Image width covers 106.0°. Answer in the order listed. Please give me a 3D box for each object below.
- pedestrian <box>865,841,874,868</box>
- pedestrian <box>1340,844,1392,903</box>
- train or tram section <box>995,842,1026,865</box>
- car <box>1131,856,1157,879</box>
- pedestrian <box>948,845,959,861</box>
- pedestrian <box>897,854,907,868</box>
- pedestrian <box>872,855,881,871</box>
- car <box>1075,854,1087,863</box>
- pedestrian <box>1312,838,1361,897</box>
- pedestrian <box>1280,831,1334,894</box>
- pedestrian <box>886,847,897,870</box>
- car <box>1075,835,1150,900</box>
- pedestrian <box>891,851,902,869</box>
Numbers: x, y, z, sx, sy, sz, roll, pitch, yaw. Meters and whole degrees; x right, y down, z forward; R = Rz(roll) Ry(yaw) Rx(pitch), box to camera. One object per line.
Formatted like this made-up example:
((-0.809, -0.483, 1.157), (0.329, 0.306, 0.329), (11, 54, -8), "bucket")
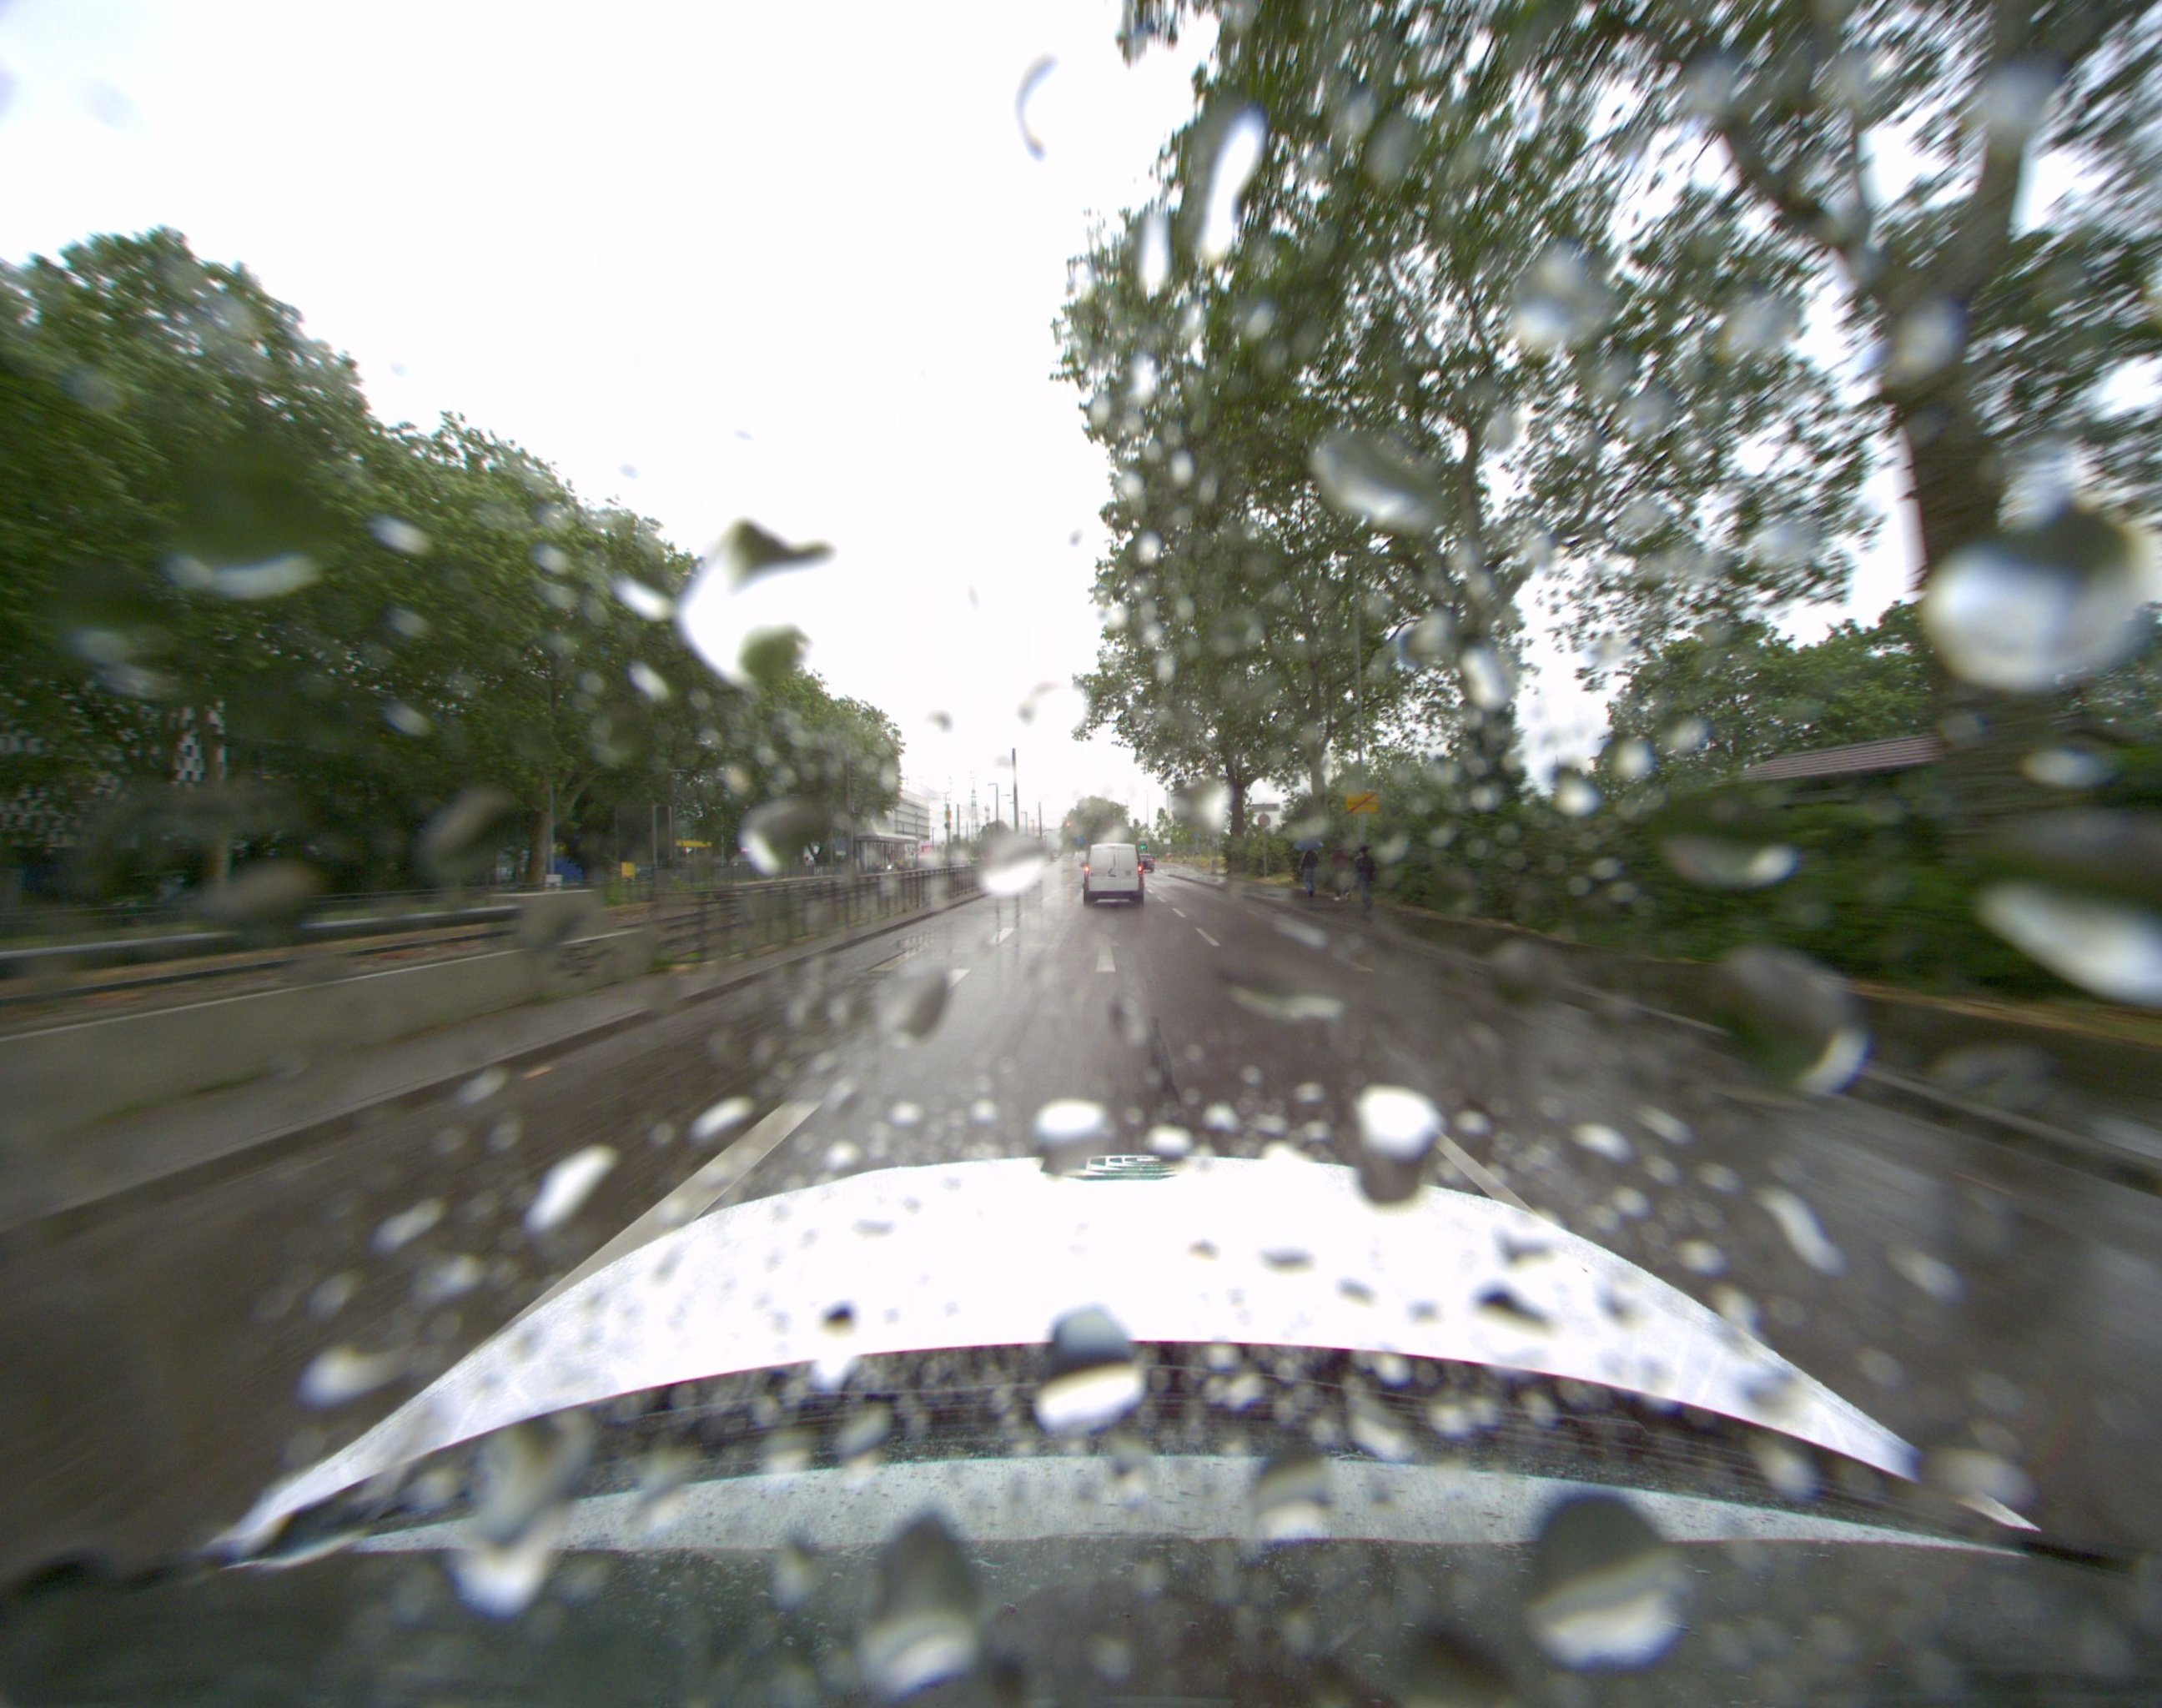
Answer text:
((-15.893, 0.038, 61.245), (0.491, 2.014, 0.583), (0, -1, 1), "pedestrian")
((7.063, 0.468, 20.247), (0.889, 1.390, 1.017), (-3, 0, 2), "pedestrian")
((-13.185, -0.058, 154.654), (3.759, 4.036, 27.082), (0, 0, -1), "train or tram section")
((5.000, 1.064, 65.134), (1.985, 1.750, 4.003), (0, 0, 3), "car")
((-16.249, -0.115, 104.058), (1.083, 2.014, 1.098), (0, 0, 5), "pedestrian")
((-16.138, 0.612, 73.354), (0.640, 1.303, 0.815), (0, 0, 5), "pedestrian")
((-15.909, 0.677, 63.436), (0.491, 1.267, 0.665), (0, 0, 5), "pedestrian")
((-0.061, 0.882, 156.441), (1.990, 1.750, 3.993), (0, 0, -5), "car")
((7.193, 0.379, 22.995), (0.943, 1.589, 1.294), (-2, 0, 2), "pedestrian")
((6.740, 0.251, 24.409), (1.235, 1.785, 1.147), (-3, -1, 1), "pedestrian")
((-15.745, 0.378, 67.704), (0.618, 1.933, 0.815), (0, 0, 5), "pedestrian")
((0.854, 0.385, 24.510), (2.019, 1.775, 4.272), (0, 0, -1), "car")
((-16.037, 0.530, 70.876), (0.829, 1.561, 0.667), (1, -1, -25), "pedestrian")
